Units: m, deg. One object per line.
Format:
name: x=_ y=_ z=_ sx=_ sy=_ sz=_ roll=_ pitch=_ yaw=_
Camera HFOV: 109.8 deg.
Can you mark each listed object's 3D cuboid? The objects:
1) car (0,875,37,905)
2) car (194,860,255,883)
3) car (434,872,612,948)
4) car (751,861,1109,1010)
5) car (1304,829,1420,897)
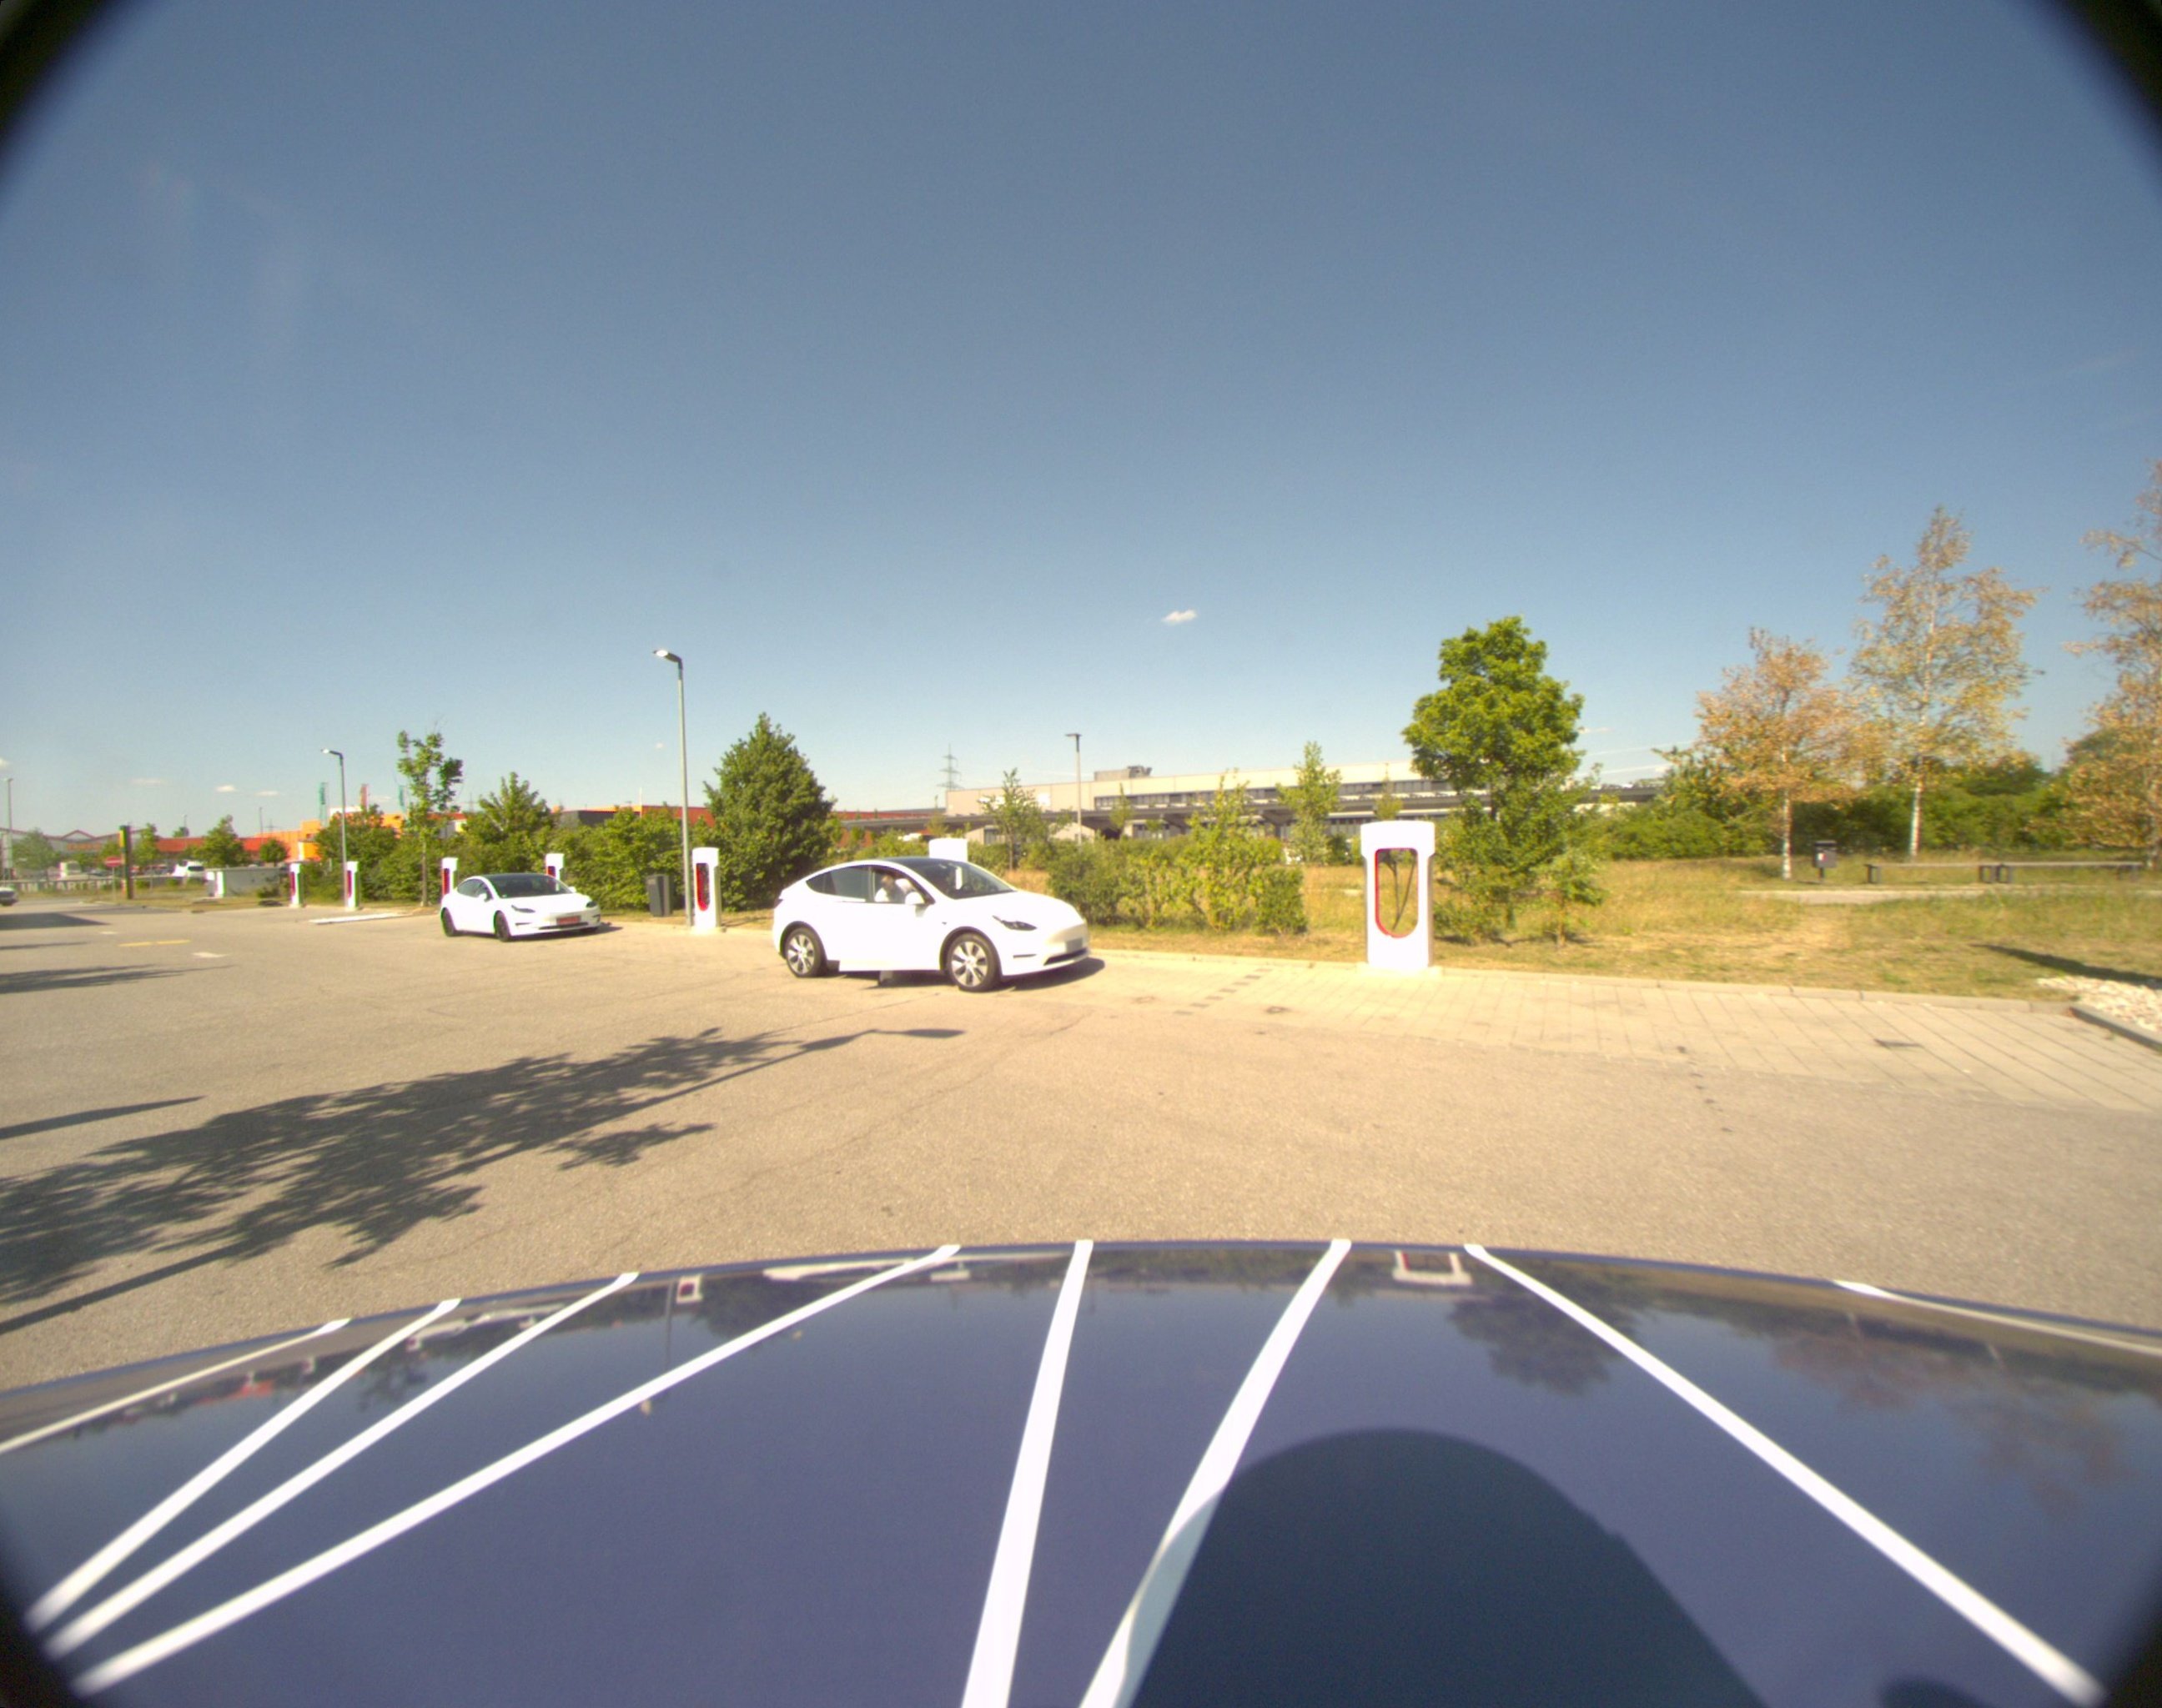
car: x=-61.437 y=2.083 z=42.274 sx=3.882 sy=1.553 sz=1.763 roll=-2 pitch=1 yaw=-6
car: x=-93.091 y=1.847 z=82.651 sx=1.995 sy=2.290 sz=4.007 roll=-2 pitch=1 yaw=30
car: x=-12.865 y=1.204 z=17.453 sx=4.321 sy=1.471 sz=1.846 roll=-1 pitch=1 yaw=33
car: x=-2.108 y=0.954 z=10.259 sx=4.564 sy=1.584 sz=1.845 roll=-1 pitch=1 yaw=29
car: x=8.239 y=0.198 z=22.050 sx=1.914 sy=1.740 sz=4.265 roll=-1 pitch=1 yaw=38
